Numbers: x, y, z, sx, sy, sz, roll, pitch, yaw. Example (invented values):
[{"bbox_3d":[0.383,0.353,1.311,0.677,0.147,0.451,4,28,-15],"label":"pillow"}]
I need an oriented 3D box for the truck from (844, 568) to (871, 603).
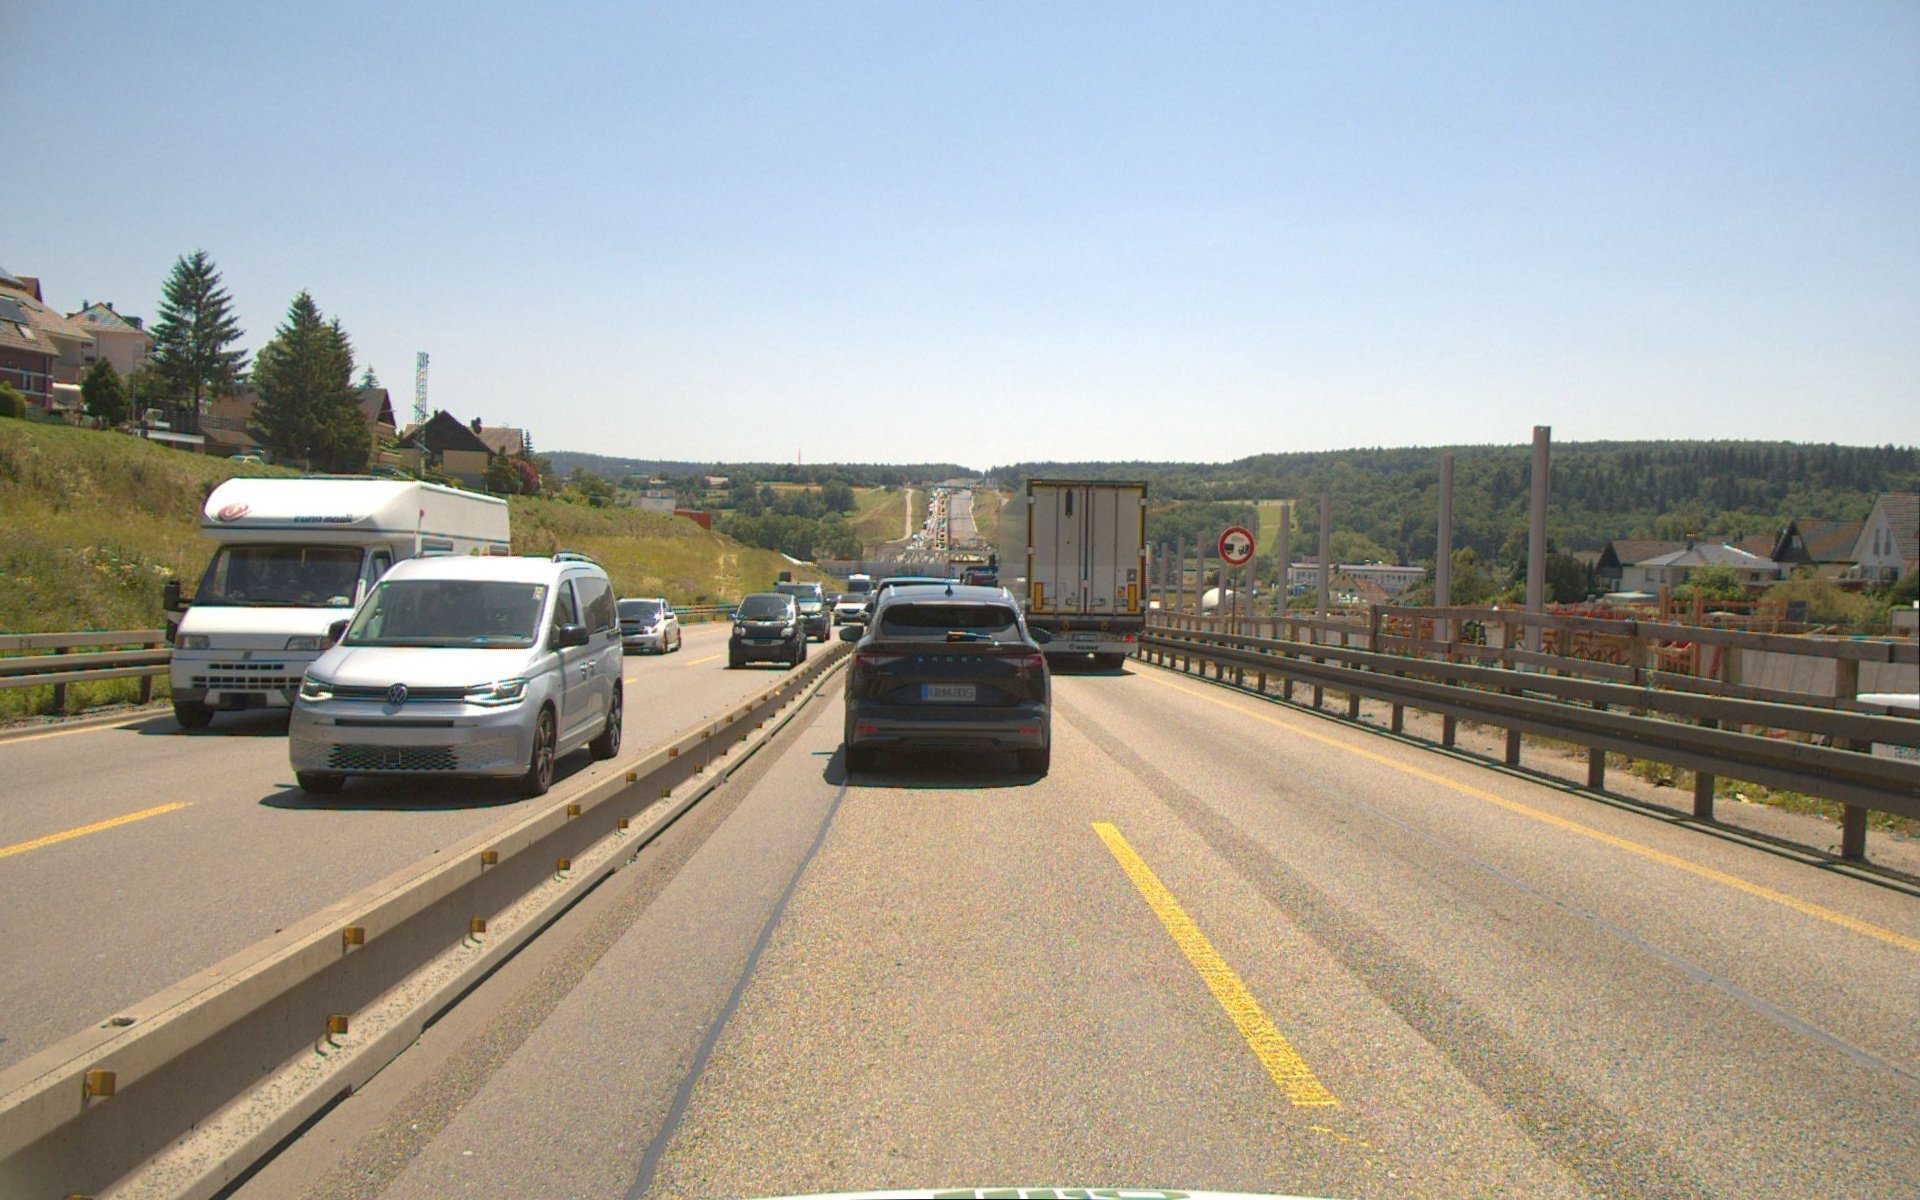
[{"bbox_3d":[-11.302,-1.570,182.258,2.723,3.737,6.275,1,0,-2],"label":"truck"}]

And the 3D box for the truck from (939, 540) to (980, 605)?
[{"bbox_3d":[-0.099,-2.020,127.525,2.795,4.543,11.912,1,-1,-2],"label":"truck"}]

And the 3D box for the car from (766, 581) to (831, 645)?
[{"bbox_3d":[-5.356,0.421,55.427,1.872,2.049,4.903,1,0,-3],"label":"car"}]

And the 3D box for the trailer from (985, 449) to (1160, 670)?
[{"bbox_3d":[2.455,-0.888,41.136,3.116,4.592,13.105,1,0,-1],"label":"trailer"}]

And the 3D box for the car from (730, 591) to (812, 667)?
[{"bbox_3d":[-3.969,0.589,35.052,1.453,1.531,2.804,0,0,-1],"label":"car"}]

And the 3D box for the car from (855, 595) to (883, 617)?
[{"bbox_3d":[-6.283,0.397,114.401,1.761,1.492,4.354,-1,0,-1],"label":"car"}]

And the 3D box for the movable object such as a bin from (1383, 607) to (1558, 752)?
[{"bbox_3d":[18.390,2.750,60.362,3.162,4.826,9.651,1,-1,-2],"label":"movable object such as a bin"}]

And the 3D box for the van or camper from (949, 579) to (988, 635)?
[{"bbox_3d":[0.539,0.482,102.277,2.339,3.338,6.469,0,-1,1],"label":"van or camper"}]

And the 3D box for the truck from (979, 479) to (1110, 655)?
[{"bbox_3d":[2.280,-0.904,47.608,3.116,4.592,8.163,1,0,-1],"label":"truck"}]

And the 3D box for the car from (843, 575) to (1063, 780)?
[{"bbox_3d":[-0.076,0.645,15.369,1.765,1.636,3.999,1,-1,-1],"label":"car"}]

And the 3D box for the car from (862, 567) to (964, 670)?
[{"bbox_3d":[-0.969,0.401,34.151,1.953,1.959,4.506,1,-1,-2],"label":"car"}]

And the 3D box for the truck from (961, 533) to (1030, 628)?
[{"bbox_3d":[1.727,-0.865,84.588,3.116,4.592,8.162,1,-1,-1],"label":"truck"}]

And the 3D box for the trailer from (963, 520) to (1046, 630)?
[{"bbox_3d":[1.887,-0.914,77.429,3.116,4.592,14.961,1,-1,-1],"label":"trailer"}]

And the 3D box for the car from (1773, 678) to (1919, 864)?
[{"bbox_3d":[16.915,2.930,29.003,2.100,2.906,7.024,1,-1,2],"label":"car"}]

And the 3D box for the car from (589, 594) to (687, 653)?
[{"bbox_3d":[-8.441,0.590,43.755,1.773,1.456,4.554,1,0,-1],"label":"car"}]

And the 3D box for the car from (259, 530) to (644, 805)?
[{"bbox_3d":[-3.951,0.463,13.827,1.800,1.860,5.038,1,0,-2],"label":"car"}]

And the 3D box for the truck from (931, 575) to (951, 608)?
[{"bbox_3d":[-2.681,-1.151,228.680,2.586,4.267,9.281,1,-1,-1],"label":"truck"}]

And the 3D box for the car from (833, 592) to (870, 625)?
[{"bbox_3d":[-5.614,0.439,85.845,1.770,1.668,4.170,0,0,-2],"label":"car"}]

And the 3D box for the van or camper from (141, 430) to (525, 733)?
[{"bbox_3d":[-7.416,-0.189,20.628,2.245,3.120,6.922,1,0,-1],"label":"van or camper"}]
